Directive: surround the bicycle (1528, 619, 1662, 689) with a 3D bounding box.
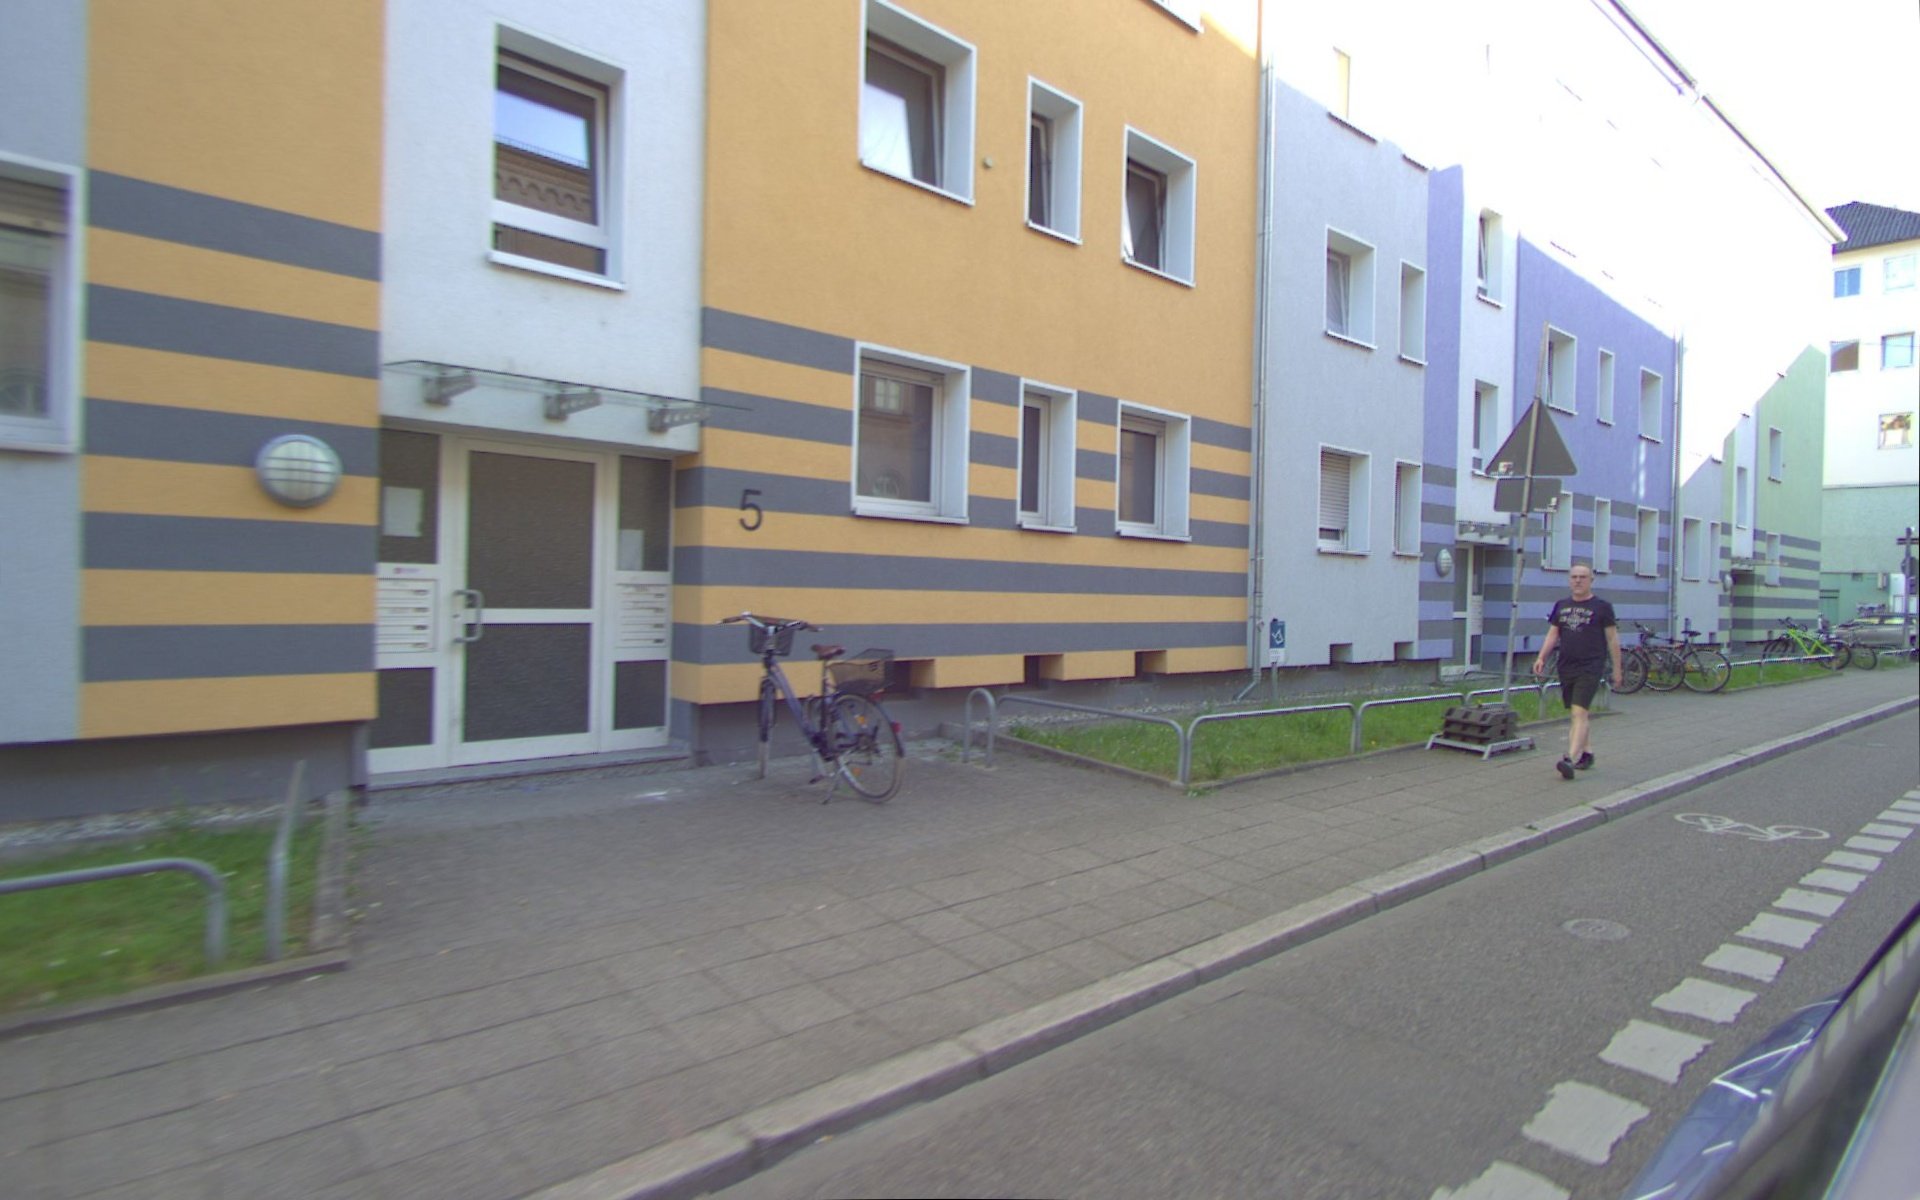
[{"bbox_3d":[9.985,0.825,15.970,0.329,0.958,1.753,0,2,-39],"label":"bicycle"}]

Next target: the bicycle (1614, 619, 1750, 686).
[{"bbox_3d":[11.999,0.849,16.875,0.542,0.958,1.753,0,2,-39],"label":"bicycle"}]

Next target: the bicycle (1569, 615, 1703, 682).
[{"bbox_3d":[11.228,0.786,16.852,0.542,0.958,1.753,0,2,-39],"label":"bicycle"}]

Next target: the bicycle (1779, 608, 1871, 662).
[{"bbox_3d":[21.290,0.845,24.945,1.641,1.155,0.279,6,4,43],"label":"bicycle"}]

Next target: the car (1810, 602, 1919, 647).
[{"bbox_3d":[33.625,0.864,36.637,1.832,1.500,4.088,0,1,-39],"label":"car"}]

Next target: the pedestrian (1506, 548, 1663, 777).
[{"bbox_3d":[5.296,0.481,8.574,1.167,1.781,0.698,1,3,-39],"label":"pedestrian"}]

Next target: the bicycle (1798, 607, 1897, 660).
[{"bbox_3d":[22.486,0.821,25.667,0.542,1.155,1.753,1,3,-39],"label":"bicycle"}]

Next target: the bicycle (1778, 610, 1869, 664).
[{"bbox_3d":[21.089,0.893,24.741,1.603,1.155,0.233,6,4,43],"label":"bicycle"}]

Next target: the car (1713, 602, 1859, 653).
[{"bbox_3d":[28.055,0.893,34.449,1.678,1.500,3.555,0,2,-38],"label":"car"}]

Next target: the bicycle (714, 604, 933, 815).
[{"bbox_3d":[-0.957,0.633,6.672,0.542,1.151,1.814,0,1,-40],"label":"bicycle"}]

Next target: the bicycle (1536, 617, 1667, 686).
[{"bbox_3d":[10.252,0.806,16.235,0.320,0.958,1.753,0,2,-38],"label":"bicycle"}]
